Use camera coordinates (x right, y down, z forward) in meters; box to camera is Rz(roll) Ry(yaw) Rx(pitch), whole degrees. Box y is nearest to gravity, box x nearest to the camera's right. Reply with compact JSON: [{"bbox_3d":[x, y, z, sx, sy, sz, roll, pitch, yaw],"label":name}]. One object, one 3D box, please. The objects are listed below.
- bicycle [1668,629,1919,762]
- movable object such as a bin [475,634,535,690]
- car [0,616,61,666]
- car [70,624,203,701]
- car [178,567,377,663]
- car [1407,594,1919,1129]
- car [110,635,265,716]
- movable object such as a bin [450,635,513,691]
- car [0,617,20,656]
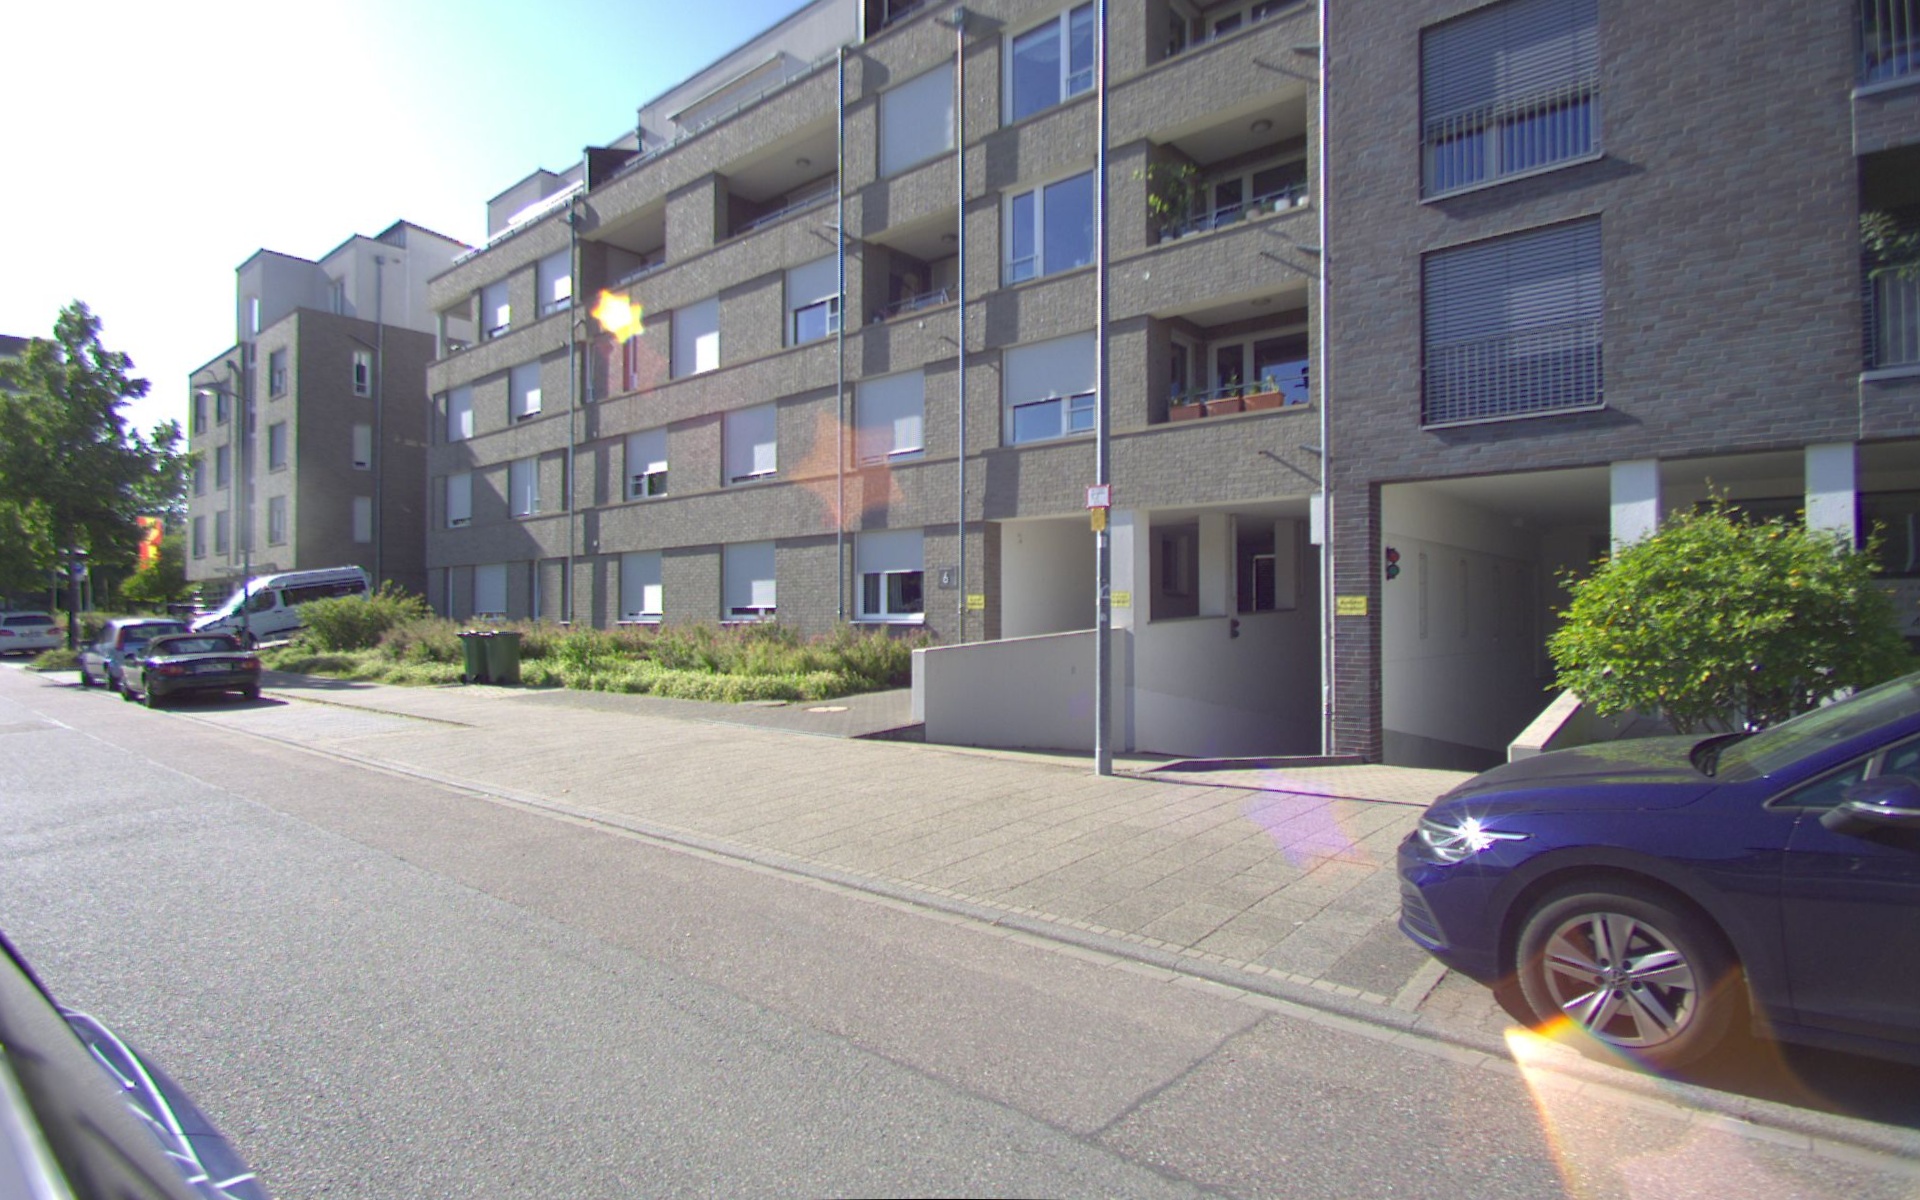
[{"bbox_3d":[7.599,0.818,9.163,1.873,1.082,0.634,-1,-1,41],"label":"bicycle"},{"bbox_3d":[-9.054,1.219,20.147,0.677,1.045,0.852,-1,1,38],"label":"movable object such as a bin"},{"bbox_3d":[-32.826,1.402,35.152,3.885,1.611,1.773,-1,-1,38],"label":"car"},{"bbox_3d":[-17.960,1.285,22.022,3.560,1.536,1.610,-1,-2,40],"label":"car"},{"bbox_3d":[-22.475,0.527,33.533,2.011,2.924,5.091,-1,-2,37],"label":"car"},{"bbox_3d":[3.811,0.727,3.115,4.097,1.485,1.821,-1,0,41],"label":"car"},{"bbox_3d":[-14.079,1.299,18.390,3.561,1.257,1.610,-1,-1,42],"label":"car"},{"bbox_3d":[-9.704,1.256,20.534,0.680,1.045,0.910,-1,1,38],"label":"movable object such as a bin"},{"bbox_3d":[-39.543,1.487,40.856,3.885,1.529,1.773,-1,-1,38],"label":"car"}]
